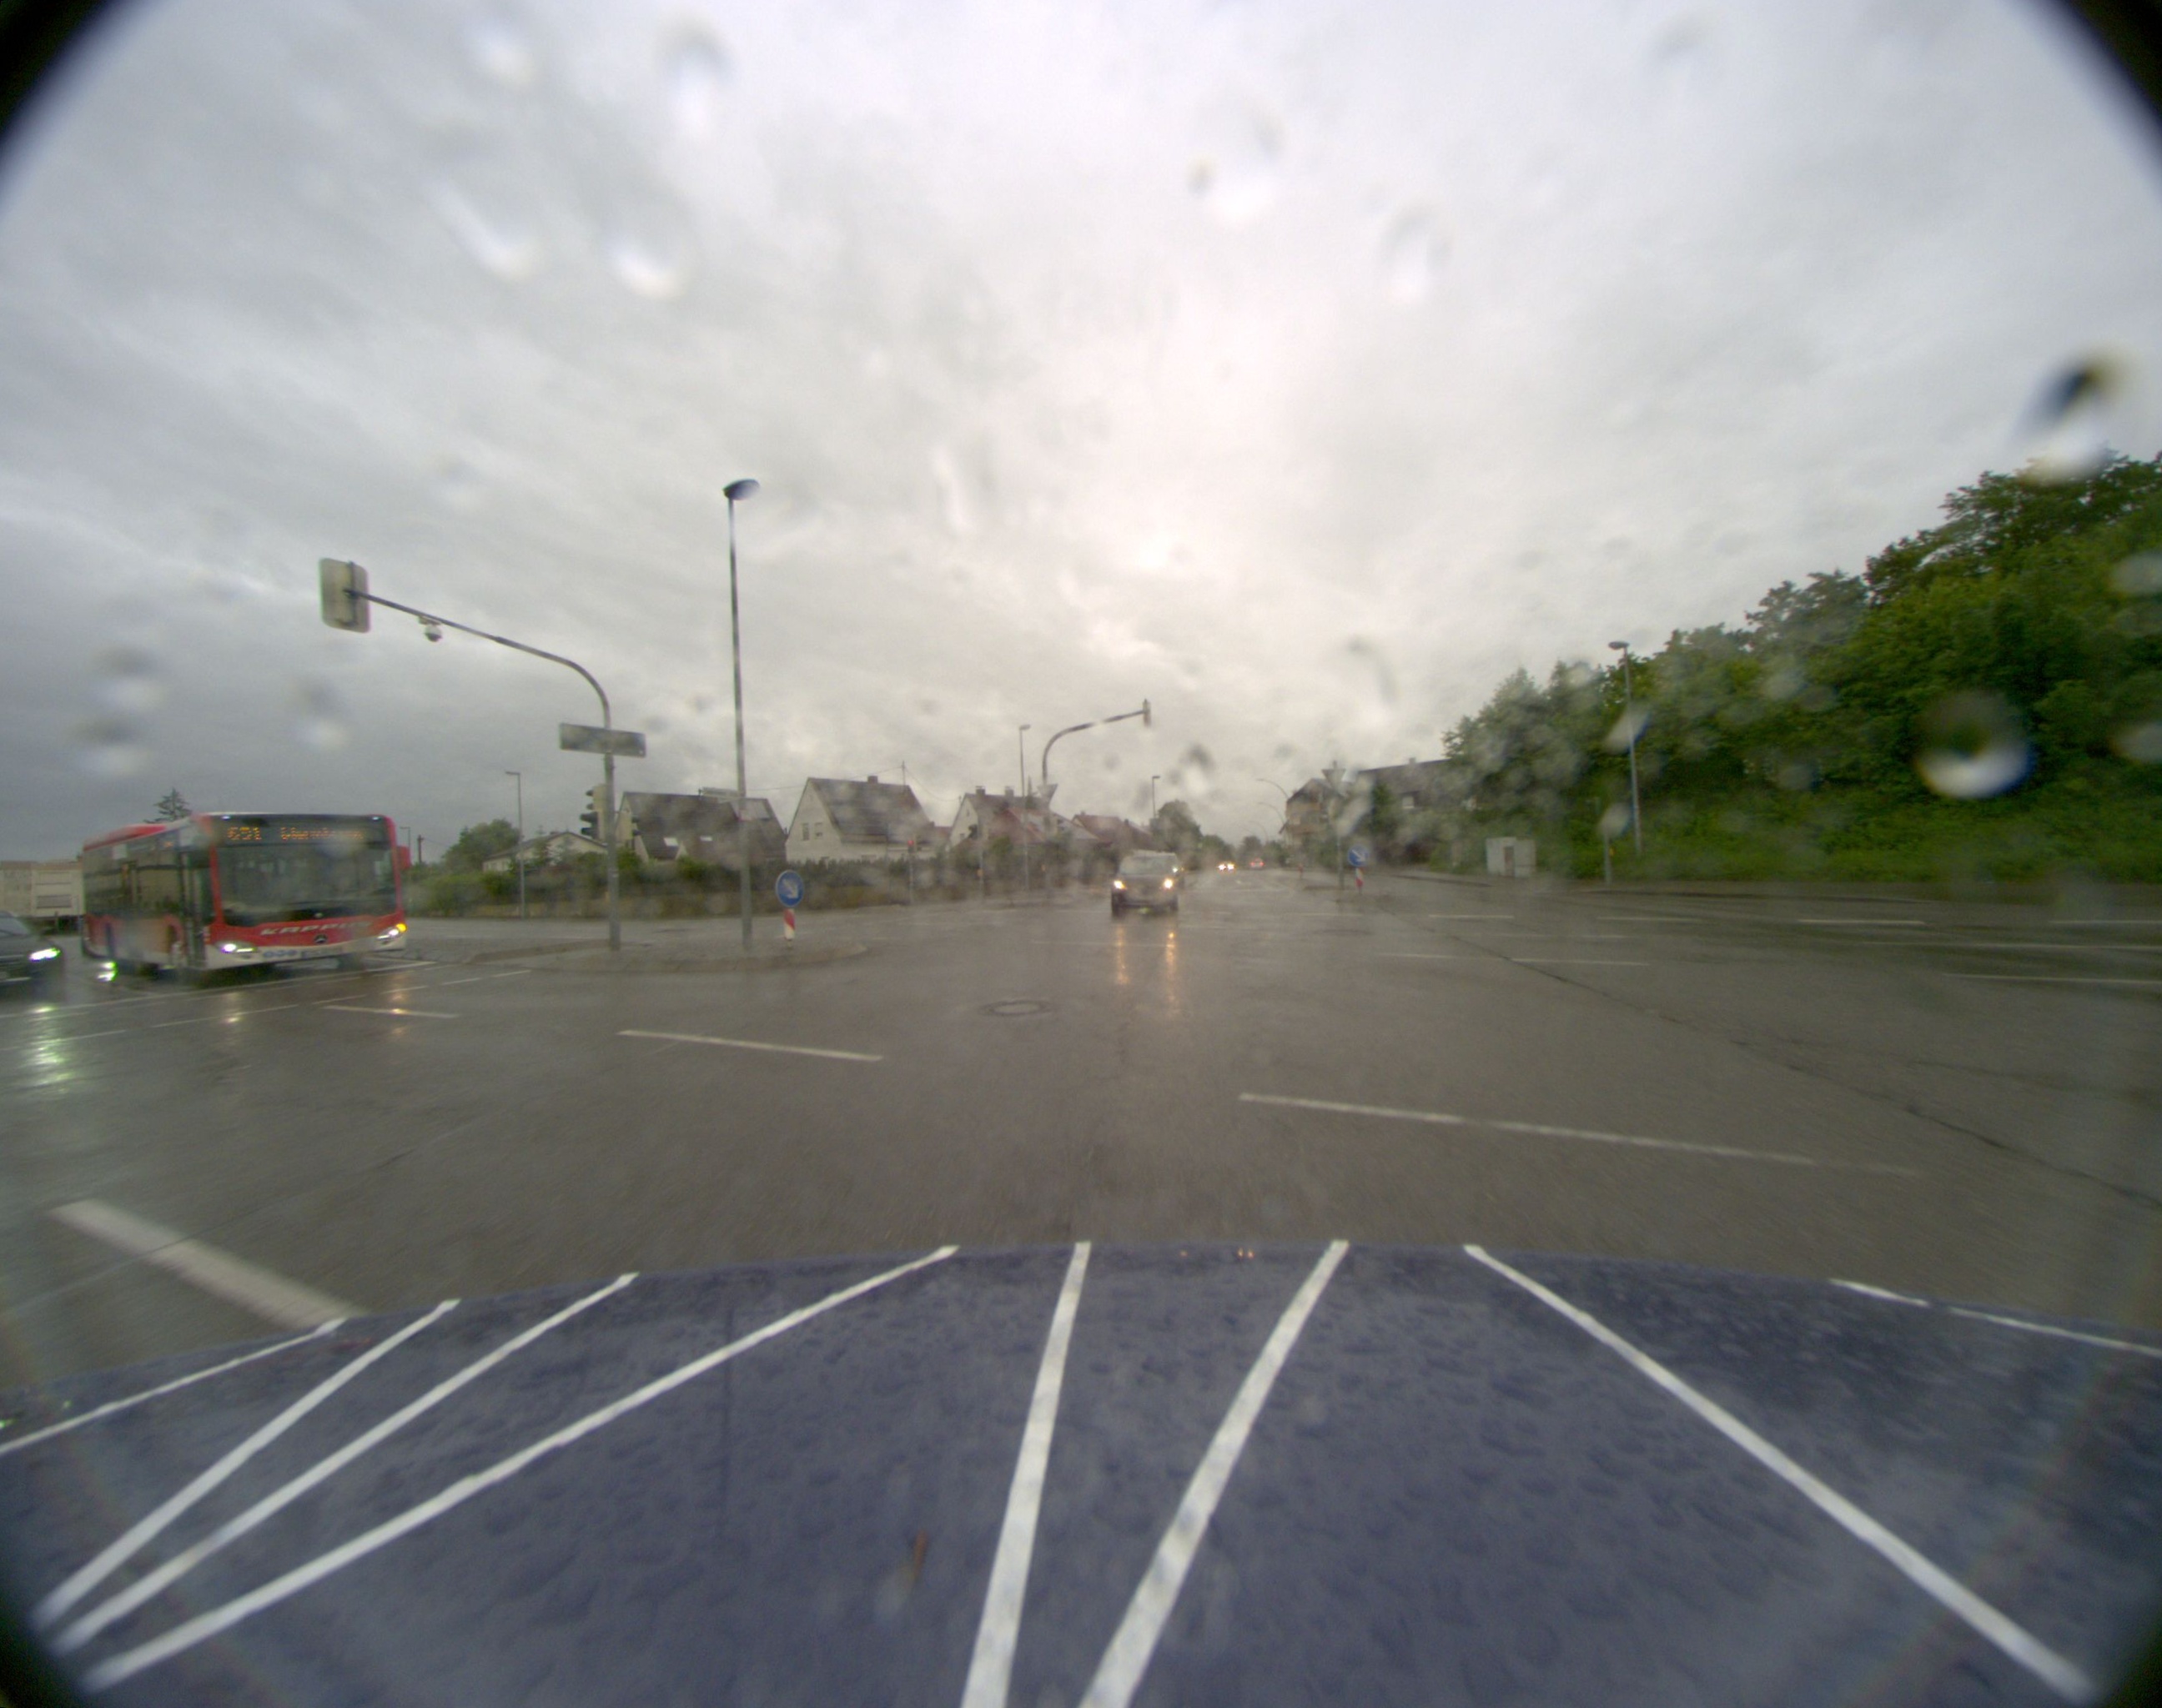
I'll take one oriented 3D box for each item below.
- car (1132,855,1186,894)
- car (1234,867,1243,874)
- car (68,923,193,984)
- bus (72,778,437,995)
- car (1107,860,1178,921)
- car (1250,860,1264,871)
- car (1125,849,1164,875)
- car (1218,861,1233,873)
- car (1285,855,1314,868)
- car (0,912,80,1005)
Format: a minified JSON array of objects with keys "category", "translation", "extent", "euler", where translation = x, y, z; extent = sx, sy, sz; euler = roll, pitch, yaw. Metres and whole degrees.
[{"category":"car","translation":[3.338,0.826,31.780],"extent":[1.897,1.474,4.004],"euler":[-2,-1,11]},{"category":"car","translation":[36.870,3.927,178.151],"extent":[1.668,1.496,4.324],"euler":[-2,0,7]},{"category":"car","translation":[-29.273,2.989,23.377],"extent":[3.989,1.489,1.856],"euler":[-2,0,31]},{"category":"bus","translation":[-18.762,0.892,16.827],"extent":[12.261,3.555,2.992],"euler":[-4,-1,31]},{"category":"car","translation":[1.725,0.904,20.345],"extent":[1.665,1.410,3.935],"euler":[-2,0,7]},{"category":"car","translation":[26.155,1.679,112.933],"extent":[1.623,1.496,3.825],"euler":[-1,0,8]},{"category":"car","translation":[6.103,0.759,72.565],"extent":[1.650,2.336,4.008],"euler":[-2,0,40]},{"category":"car","translation":[20.759,1.887,109.225],"extent":[1.756,1.547,3.922],"euler":[-2,0,8]},{"category":"car","translation":[27.747,0.952,96.383],"extent":[4.008,1.538,1.661],"euler":[-2,1,-43]},{"category":"car","translation":[-19.858,1.845,13.524],"extent":[4.580,1.459,1.906],"euler":[-3,0,30]}]
